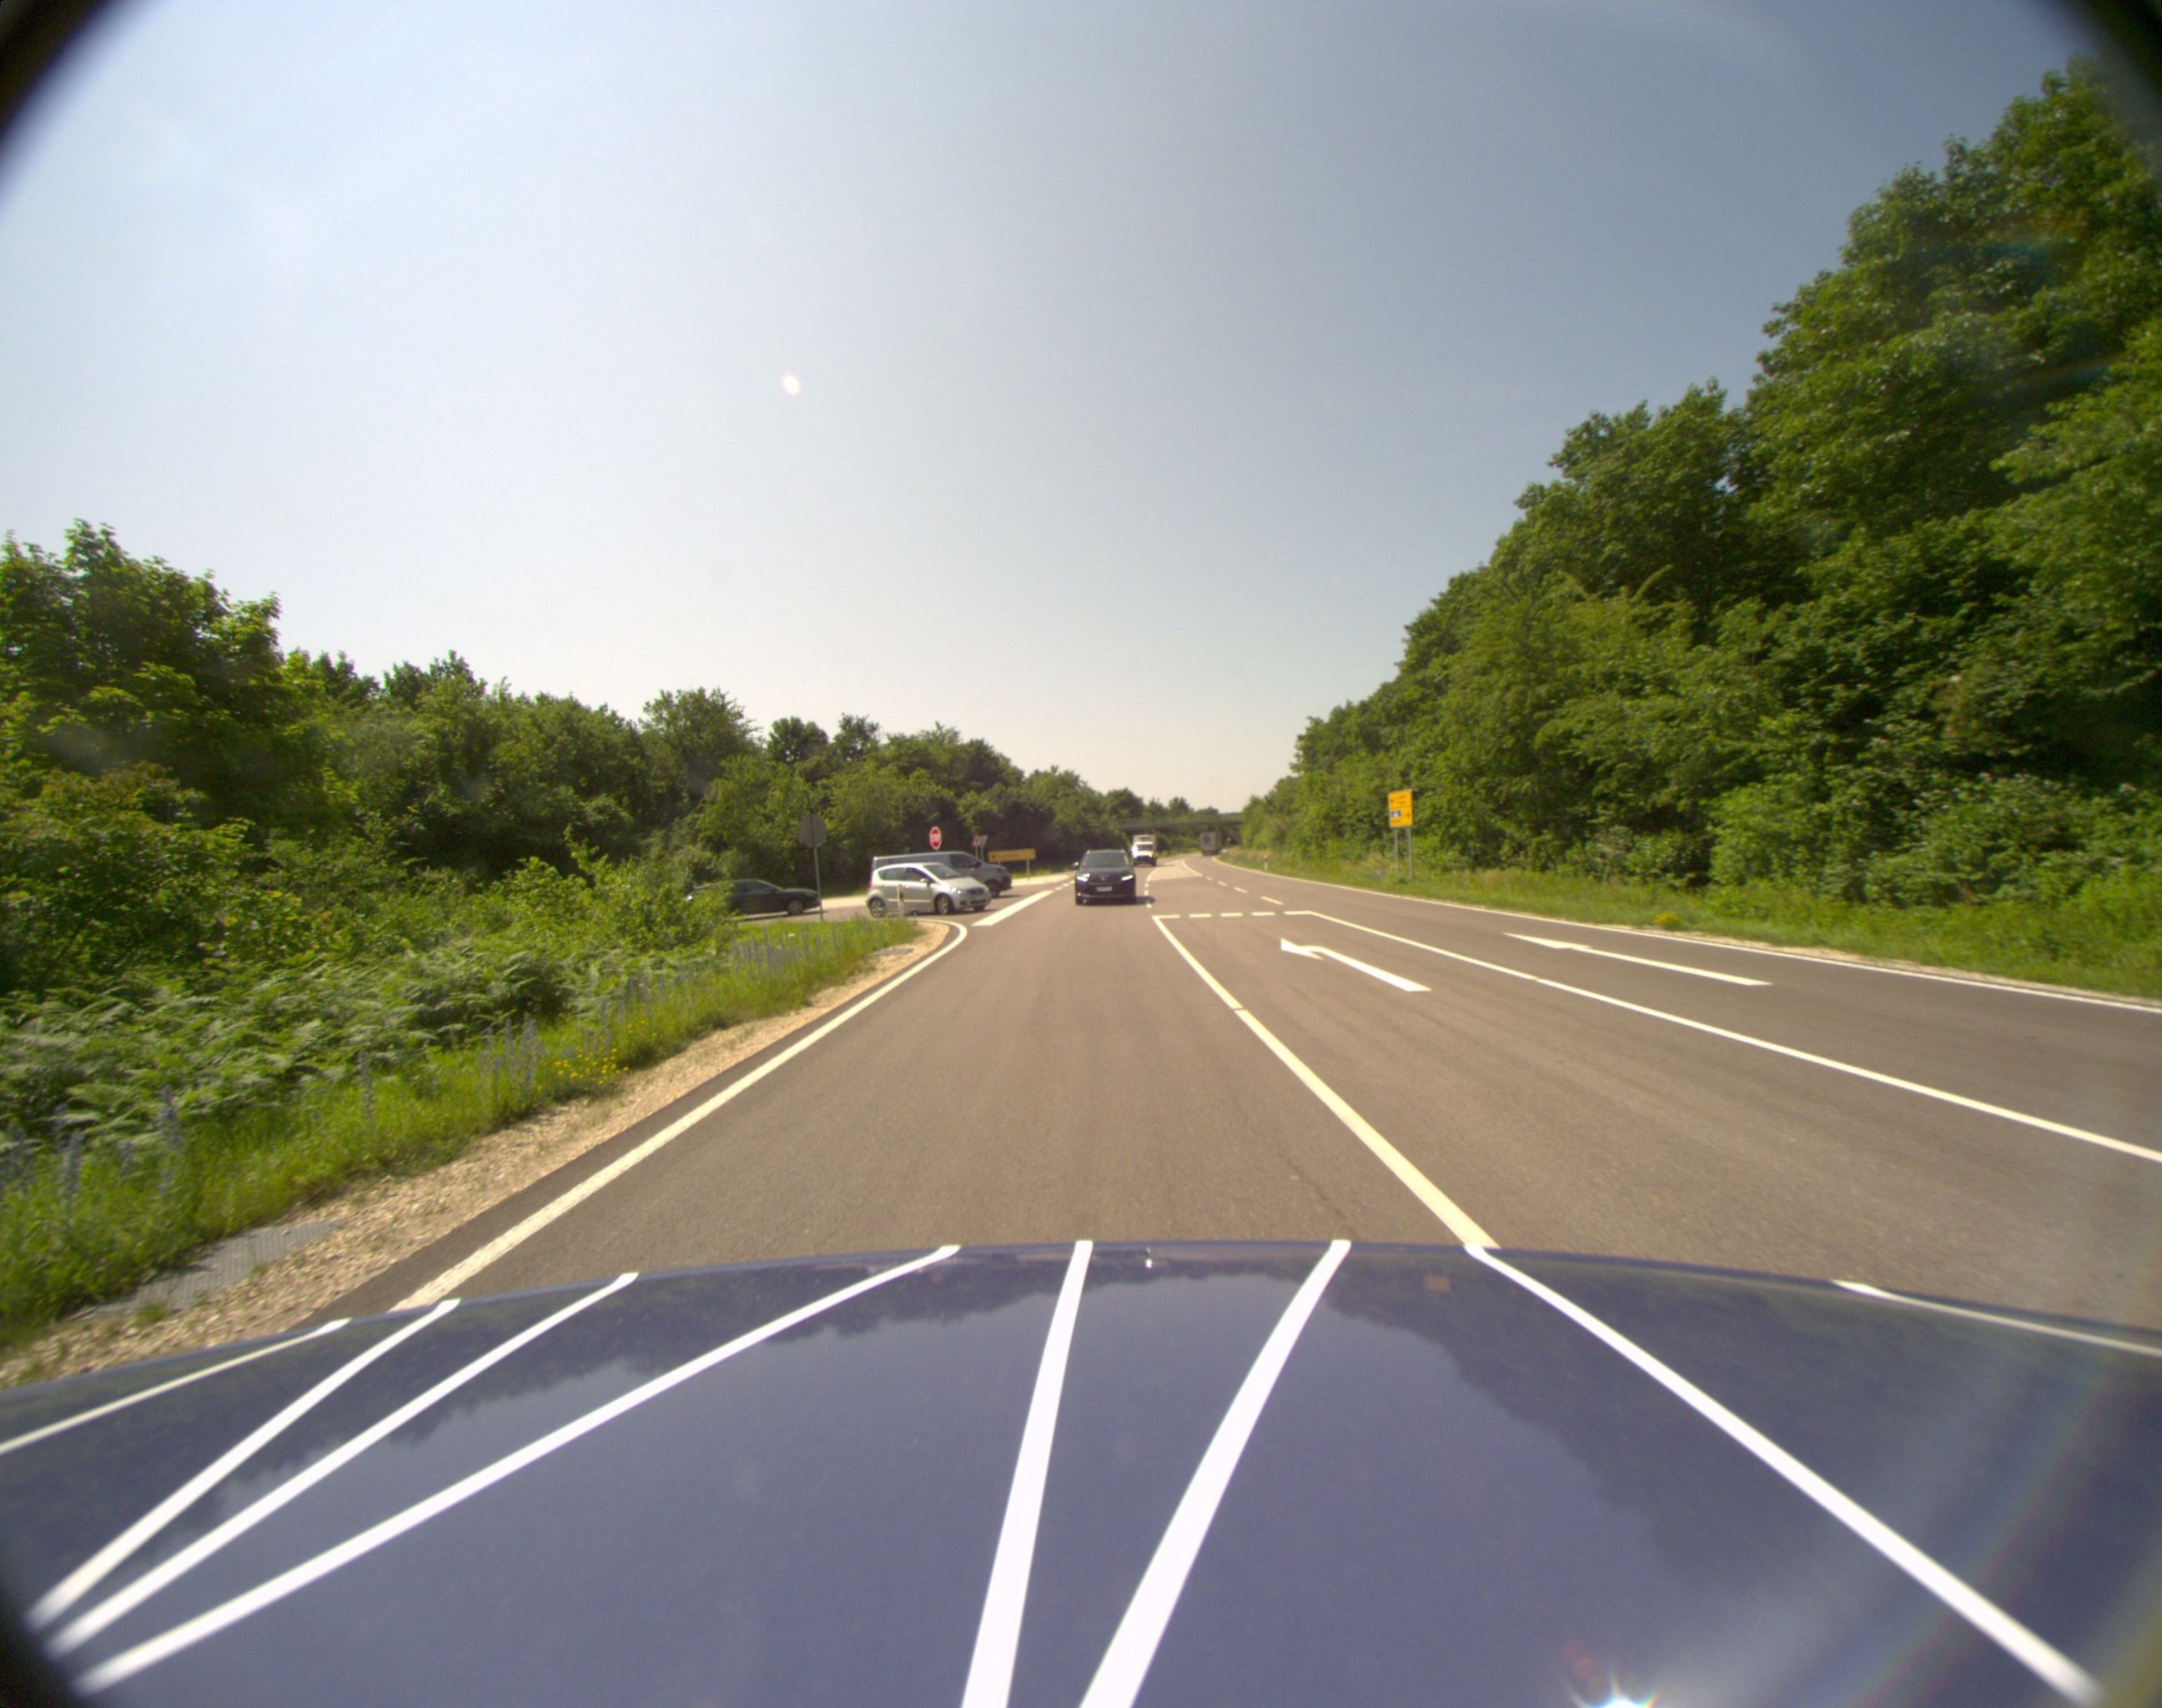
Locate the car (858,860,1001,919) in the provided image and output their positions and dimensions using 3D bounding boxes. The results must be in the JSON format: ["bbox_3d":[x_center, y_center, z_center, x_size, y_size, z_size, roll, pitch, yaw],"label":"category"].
[{"bbox_3d":[-4.611,1.085,23.029,3.984,1.570,1.849,-4,-1,31],"label":"car"}]

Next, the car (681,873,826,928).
[{"bbox_3d":[-11.623,1.610,27.293,4.567,1.465,1.865,-4,1,-20],"label":"car"}]

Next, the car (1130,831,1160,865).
[{"bbox_3d":[5.990,-0.596,71.830,2.591,3.047,6.882,-2,1,4],"label":"car"}]

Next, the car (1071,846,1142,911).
[{"bbox_3d":[0.822,0.644,23.677,1.924,1.711,5.478,-2,1,2],"label":"car"}]

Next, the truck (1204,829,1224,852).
[{"bbox_3d":[25.336,-2.566,143.970,2.802,4.072,11.073,-2,1,14],"label":"truck"}]

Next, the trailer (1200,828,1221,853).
[{"bbox_3d":[23.149,-2.403,135.472,2.832,4.072,9.009,-2,1,15],"label":"trailer"}]

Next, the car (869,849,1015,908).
[{"bbox_3d":[-5.337,0.885,29.119,5.232,1.896,2.011,-3,2,-15],"label":"car"}]
